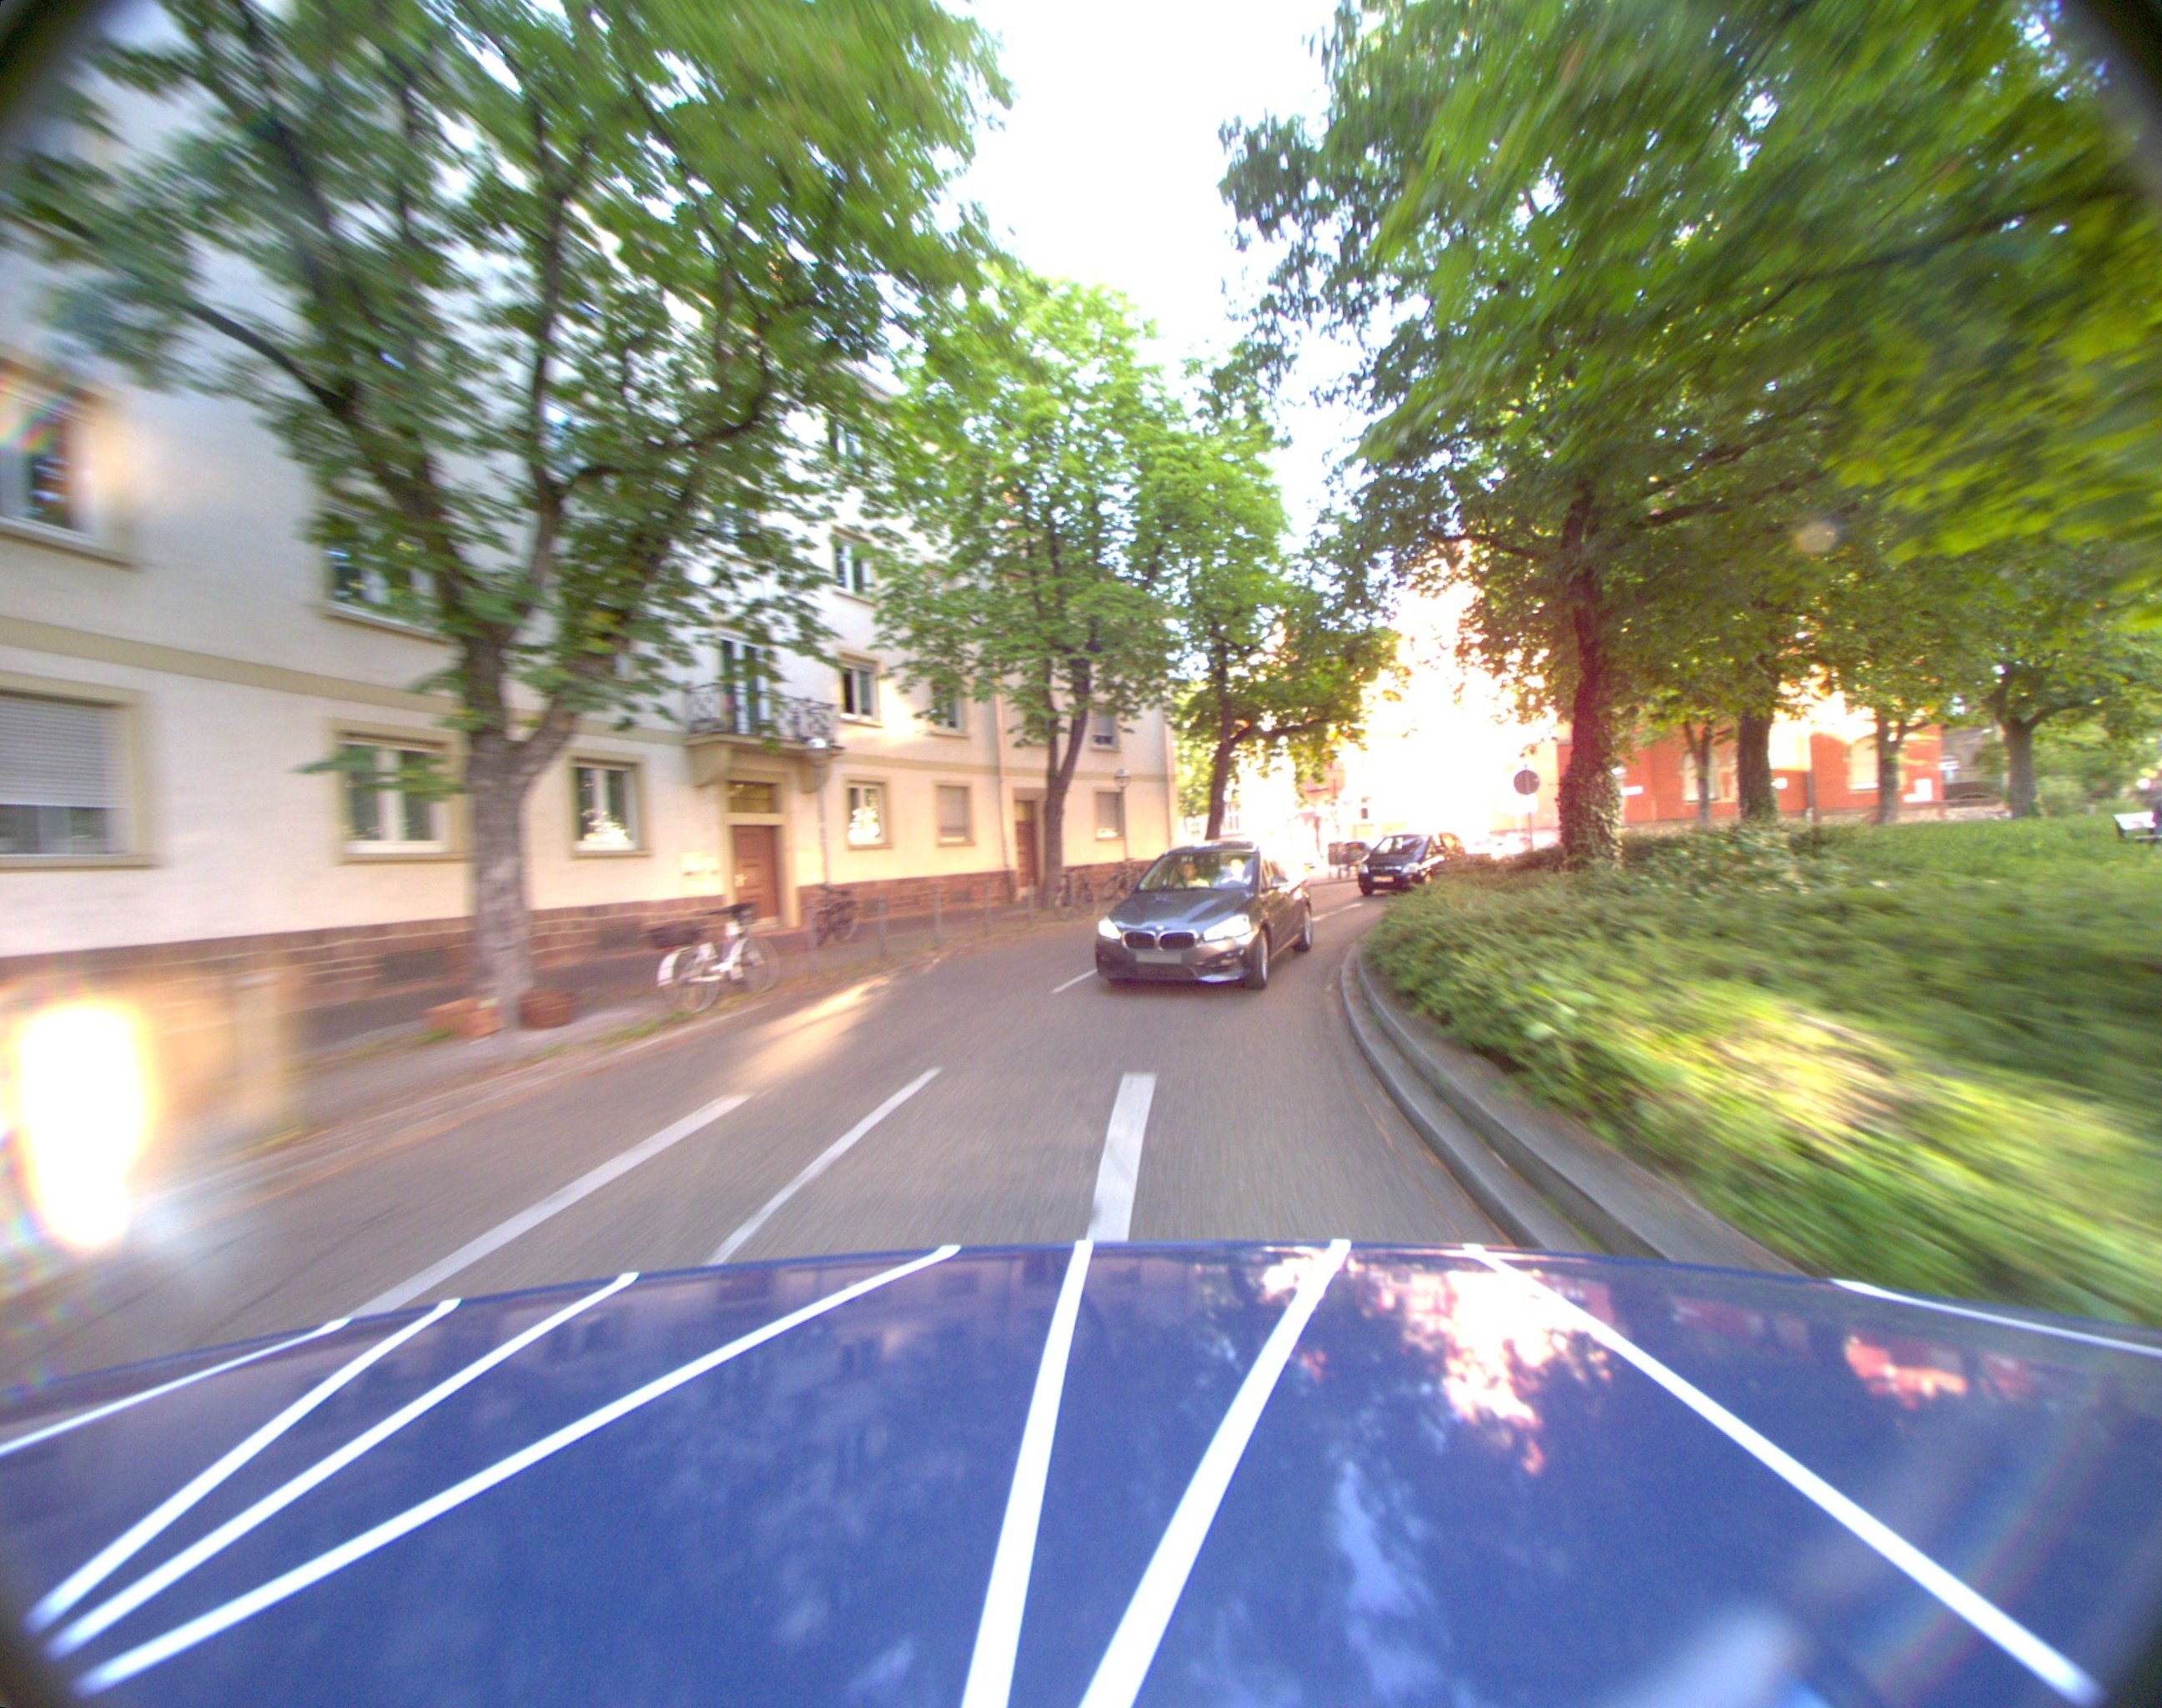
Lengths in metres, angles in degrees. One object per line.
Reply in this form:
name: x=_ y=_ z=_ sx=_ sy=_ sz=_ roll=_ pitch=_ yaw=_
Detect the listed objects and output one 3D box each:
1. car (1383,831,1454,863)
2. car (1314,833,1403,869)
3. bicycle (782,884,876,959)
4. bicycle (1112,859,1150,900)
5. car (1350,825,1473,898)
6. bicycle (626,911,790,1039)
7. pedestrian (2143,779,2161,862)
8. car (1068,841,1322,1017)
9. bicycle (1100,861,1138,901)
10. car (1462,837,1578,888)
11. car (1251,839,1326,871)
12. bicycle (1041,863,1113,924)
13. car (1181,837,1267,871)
car: x=17.630 y=-0.348 z=39.787 sx=1.494 sy=1.531 sz=3.210 roll=-3 pitch=1 yaw=-22
car: x=13.214 y=-0.106 z=36.453 sx=1.698 sy=1.543 sz=4.045 roll=-4 pitch=0 yaw=-21
bicycle: x=-4.424 y=1.153 z=13.523 sx=0.802 sy=1.112 sz=1.859 roll=-4 pitch=0 yaw=7
bicycle: x=1.490 y=0.737 z=22.449 sx=0.334 sy=1.087 sz=1.639 roll=-4 pitch=0 yaw=31
car: x=8.584 y=0.162 z=19.587 sx=1.676 sy=1.619 sz=3.694 roll=-3 pitch=1 yaw=44
bicycle: x=-4.089 y=1.277 z=8.532 sx=0.513 sy=1.089 sz=1.975 roll=-2 pitch=1 yaw=11
pedestrian: x=19.316 y=-0.613 z=13.358 sx=0.601 sy=1.435 sz=0.709 roll=-5 pitch=1 yaw=-36
car: x=1.677 y=0.718 z=9.469 sx=1.790 sy=1.569 sz=4.267 roll=-3 pitch=1 yaw=27
bicycle: x=1.147 y=0.784 z=22.546 sx=0.334 sy=1.087 sz=1.639 roll=-4 pitch=0 yaw=31
car: x=14.413 y=0.249 z=24.901 sx=3.693 sy=1.400 sz=1.677 roll=-3 pitch=1 yaw=-31
car: x=11.462 y=0.083 z=42.300 sx=1.807 sy=1.543 sz=4.179 roll=-4 pitch=0 yaw=-21
bicycle: x=-0.051 y=0.860 z=17.070 sx=0.718 sy=1.216 sz=1.917 roll=-3 pitch=1 yaw=28
car: x=7.184 y=-0.004 z=38.160 sx=3.806 sy=1.417 sz=1.674 roll=-4 pitch=0 yaw=-18
